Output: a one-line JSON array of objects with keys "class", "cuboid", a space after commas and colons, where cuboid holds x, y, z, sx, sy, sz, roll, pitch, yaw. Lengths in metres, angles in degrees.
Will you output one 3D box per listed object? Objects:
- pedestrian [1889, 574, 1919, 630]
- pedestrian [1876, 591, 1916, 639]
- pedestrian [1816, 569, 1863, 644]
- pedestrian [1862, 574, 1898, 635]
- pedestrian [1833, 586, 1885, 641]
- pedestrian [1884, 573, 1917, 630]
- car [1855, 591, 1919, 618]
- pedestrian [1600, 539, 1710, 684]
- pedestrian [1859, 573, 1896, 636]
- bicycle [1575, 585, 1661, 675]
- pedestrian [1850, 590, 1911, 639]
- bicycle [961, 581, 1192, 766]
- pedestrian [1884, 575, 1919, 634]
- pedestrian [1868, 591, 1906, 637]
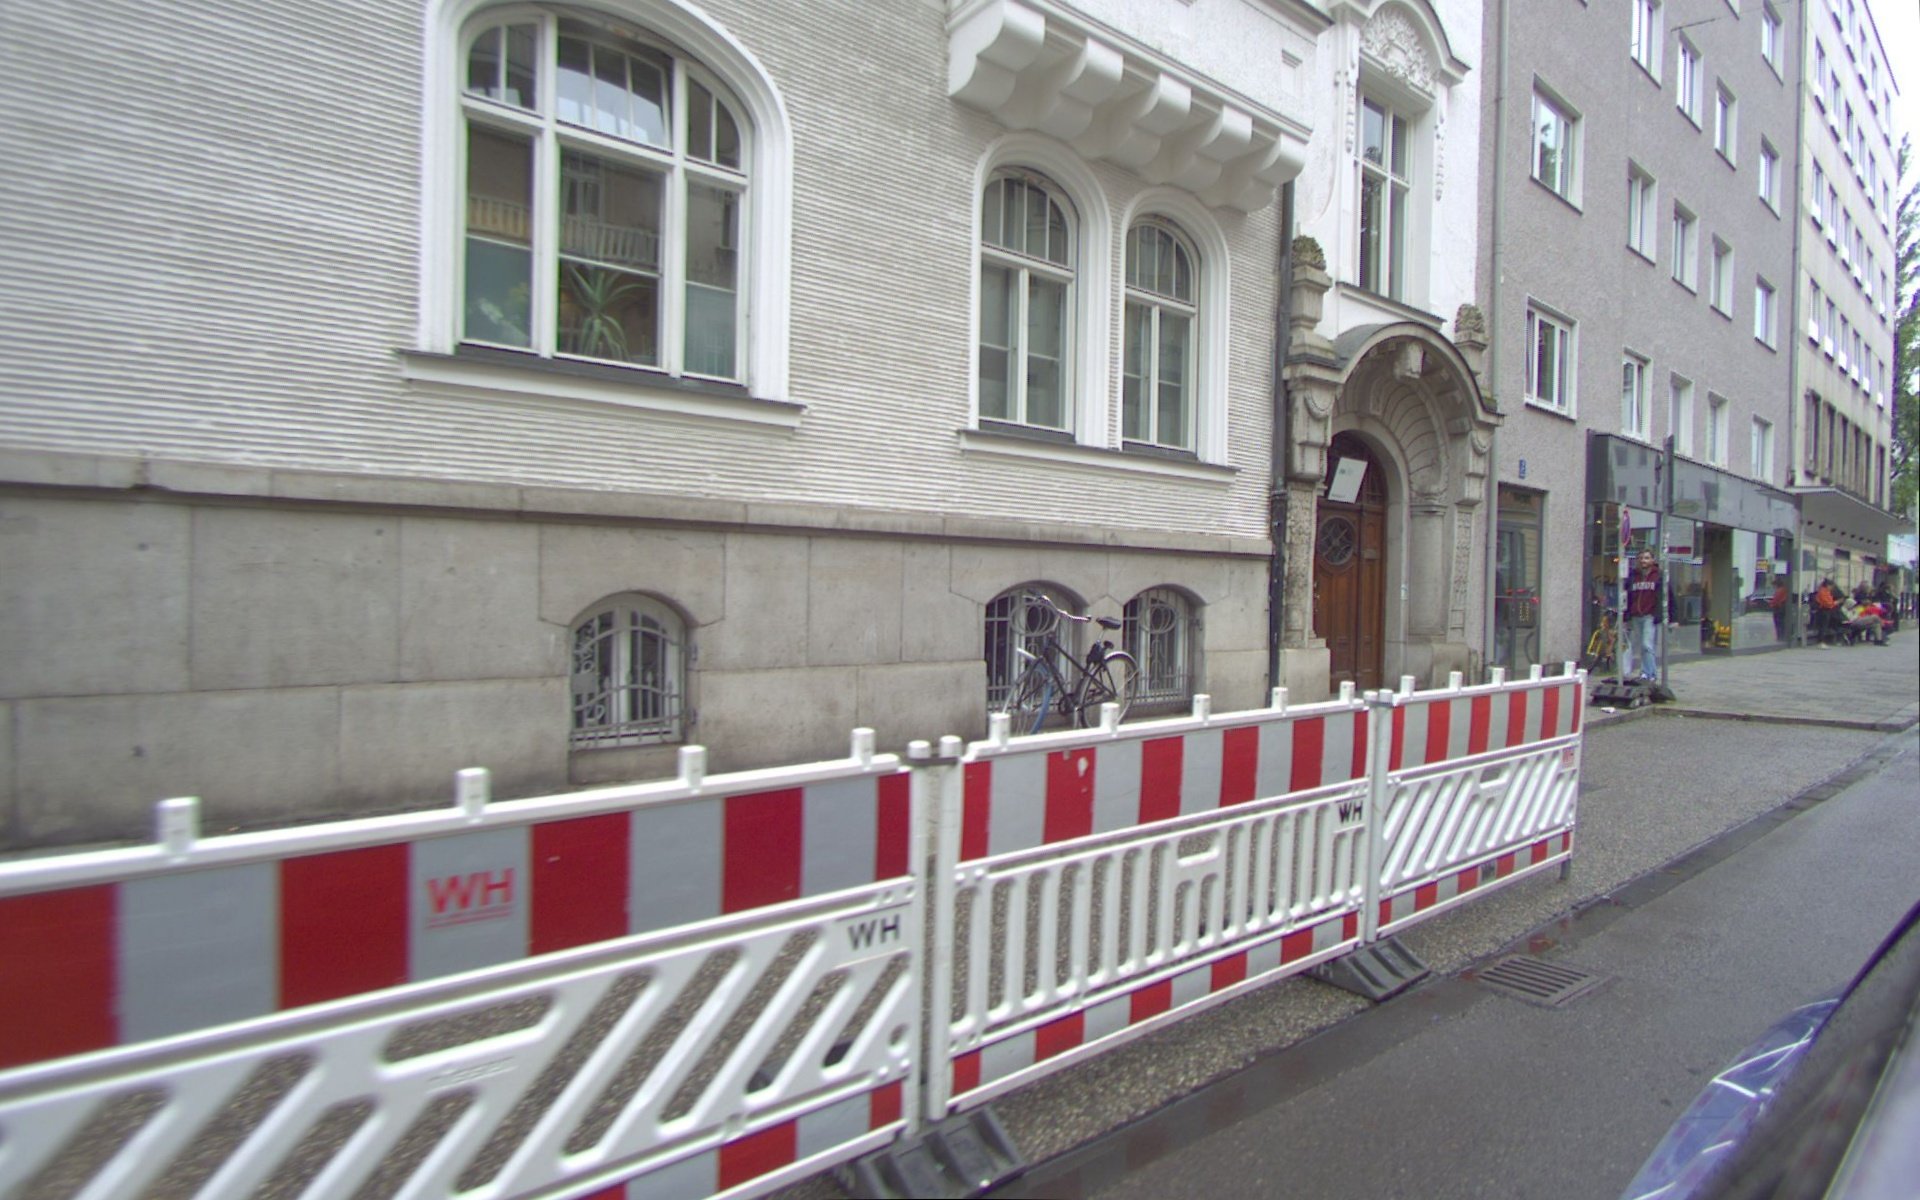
[{"class": "pedestrian", "cuboid": [31.256, 0.061, 33.458, 0.757, 1.805, 0.659, 0, 1, -40]}, {"class": "pedestrian", "cuboid": [25.571, 0.396, 27.639, 0.574, 1.252, 0.709, 0, 1, -39]}, {"class": "pedestrian", "cuboid": [21.278, 0.143, 24.487, 0.733, 1.754, 0.704, 0, 1, -40]}, {"class": "pedestrian", "cuboid": [27.008, 0.115, 29.714, 0.764, 1.754, 0.659, 0, 1, -40]}, {"class": "pedestrian", "cuboid": [23.280, 0.329, 26.194, 0.847, 1.369, 0.862, 0, 1, -39]}, {"class": "pedestrian", "cuboid": [30.658, 0.040, 32.996, 0.683, 1.845, 0.659, 0, 1, -40]}, {"class": "car", "cuboid": [55.709, 0.237, 59.683, 1.967, 1.537, 4.269, 0, 1, -43]}, {"class": "pedestrian", "cuboid": [9.803, 0.136, 14.276, 1.158, 1.933, 0.929, 0, 3, -40]}, {"class": "pedestrian", "cuboid": [26.049, 0.114, 28.723, 0.672, 1.754, 0.659, 0, 1, -40]}, {"class": "bicycle", "cuboid": [10.015, 0.429, 15.380, 1.788, 1.275, 0.513, 0, 5, -41]}, {"class": "pedestrian", "cuboid": [24.672, 0.373, 27.123, 0.656, 1.252, 1.099, 0, 1, -39]}, {"class": "bicycle", "cuboid": [0.942, 0.488, 7.800, 1.890, 1.220, 0.661, -1, 5, -44]}, {"class": "pedestrian", "cuboid": [28.591, 0.119, 30.743, 0.683, 1.754, 0.659, 0, 1, -40]}, {"class": "pedestrian", "cuboid": [25.786, 0.374, 28.157, 0.487, 1.252, 0.681, 0, 1, -39]}]
